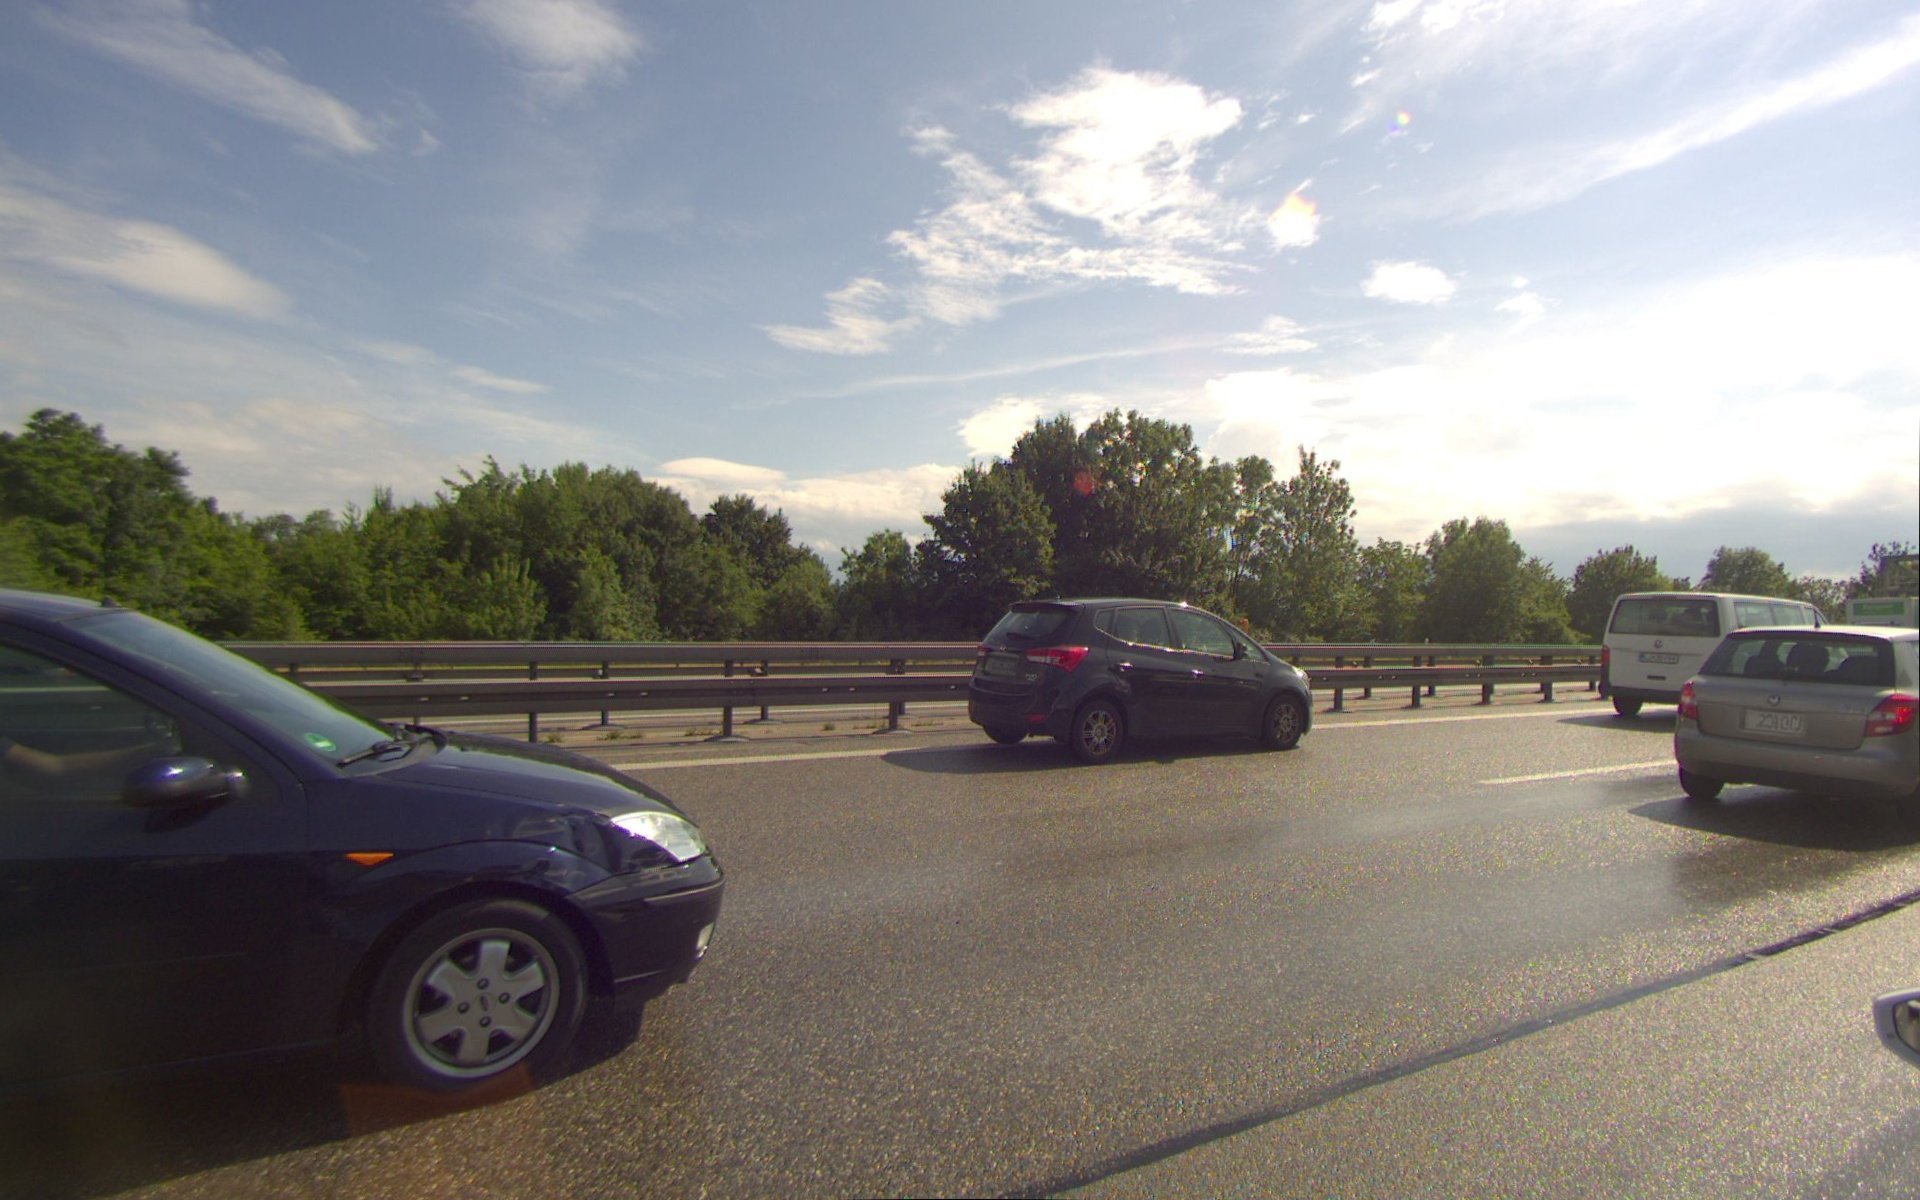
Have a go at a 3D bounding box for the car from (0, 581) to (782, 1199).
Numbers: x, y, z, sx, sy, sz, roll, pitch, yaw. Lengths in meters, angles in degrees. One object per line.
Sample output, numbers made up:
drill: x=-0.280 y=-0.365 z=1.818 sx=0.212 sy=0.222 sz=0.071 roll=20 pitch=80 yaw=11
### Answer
car: x=-2.715 y=0.681 z=2.985 sx=3.953 sy=1.462 sz=1.750 roll=1 pitch=0 yaw=-30

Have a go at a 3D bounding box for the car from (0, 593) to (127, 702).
car: x=-14.007 y=0.615 z=13.820 sx=3.589 sy=1.452 sz=1.743 roll=1 pitch=0 yaw=-28

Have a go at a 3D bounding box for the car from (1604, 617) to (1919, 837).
car: x=7.681 y=0.932 z=8.751 sx=3.781 sy=1.477 sz=1.978 roll=1 pitch=0 yaw=-30

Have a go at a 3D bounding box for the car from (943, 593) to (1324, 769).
car: x=1.929 y=0.775 z=10.901 sx=3.871 sy=1.599 sz=1.774 roll=1 pitch=0 yaw=-31

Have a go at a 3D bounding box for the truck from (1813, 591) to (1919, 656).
truck: x=46.123 y=1.204 z=50.021 sx=8.622 sy=3.026 sz=2.901 roll=2 pitch=0 yaw=-31

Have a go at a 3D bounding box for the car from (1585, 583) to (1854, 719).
car: x=12.561 y=0.782 z=16.514 sx=4.959 sy=1.959 sz=1.838 roll=1 pitch=0 yaw=-31

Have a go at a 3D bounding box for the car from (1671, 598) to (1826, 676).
car: x=26.781 y=1.236 z=34.067 sx=6.032 sy=2.428 sz=2.103 roll=2 pitch=0 yaw=-31
